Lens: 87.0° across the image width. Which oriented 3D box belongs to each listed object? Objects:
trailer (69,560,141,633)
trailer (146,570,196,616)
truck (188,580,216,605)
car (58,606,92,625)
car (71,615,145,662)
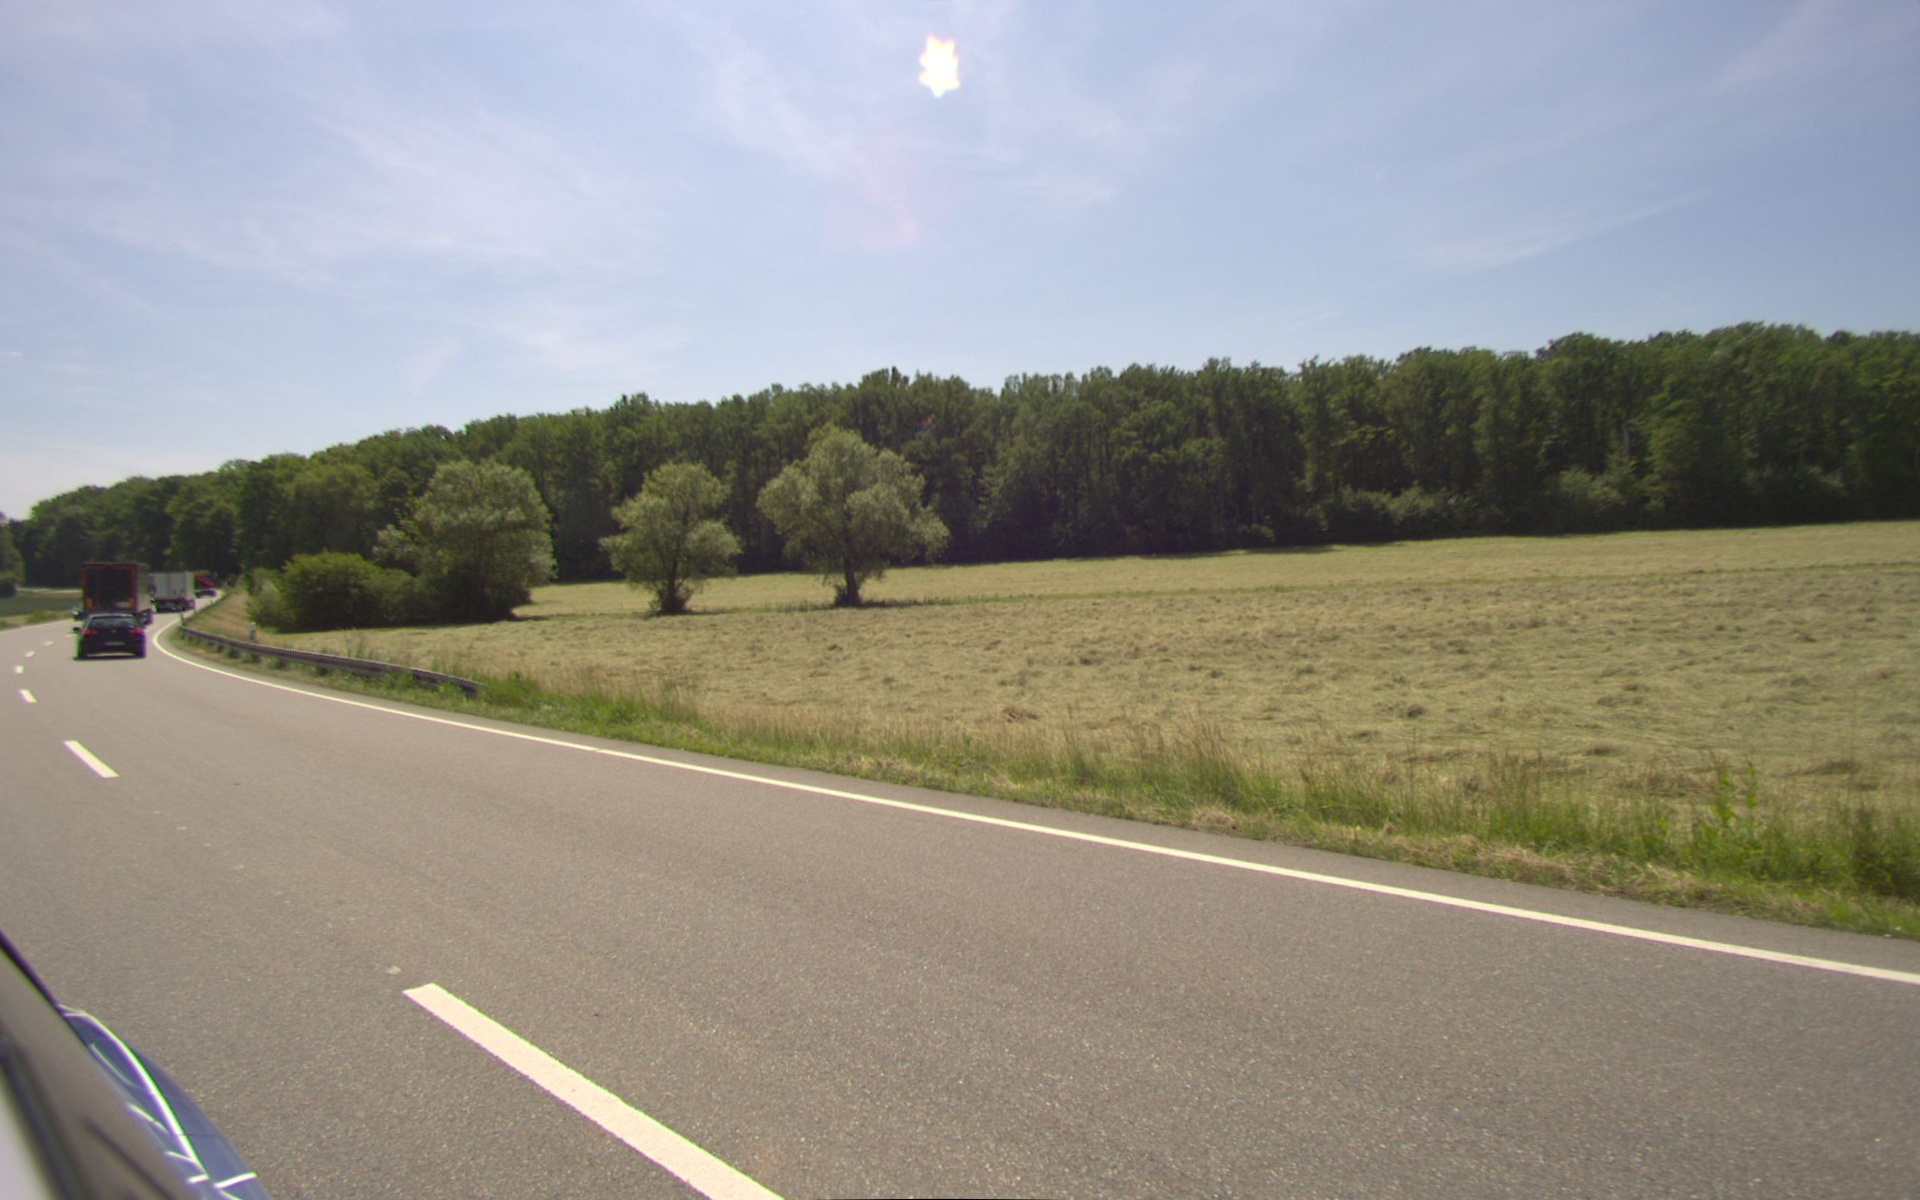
[{"bbox_3d":[-54.469,-0.183,64.508,3.201,4.181,14.467,0,0,-40],"label":"trailer"},{"bbox_3d":[-81.161,-0.693,104.313,3.329,4.434,13.780,-1,1,-35],"label":"trailer"},{"bbox_3d":[-119.499,-1.255,159.597,2.666,3.677,10.129,-2,2,-33],"label":"truck"},{"bbox_3d":[-71.101,1.235,81.319,1.596,1.447,3.452,-3,2,-35],"label":"car"},{"bbox_3d":[-28.838,1.258,34.216,1.680,1.480,4.204,0,-1,-44],"label":"car"}]
